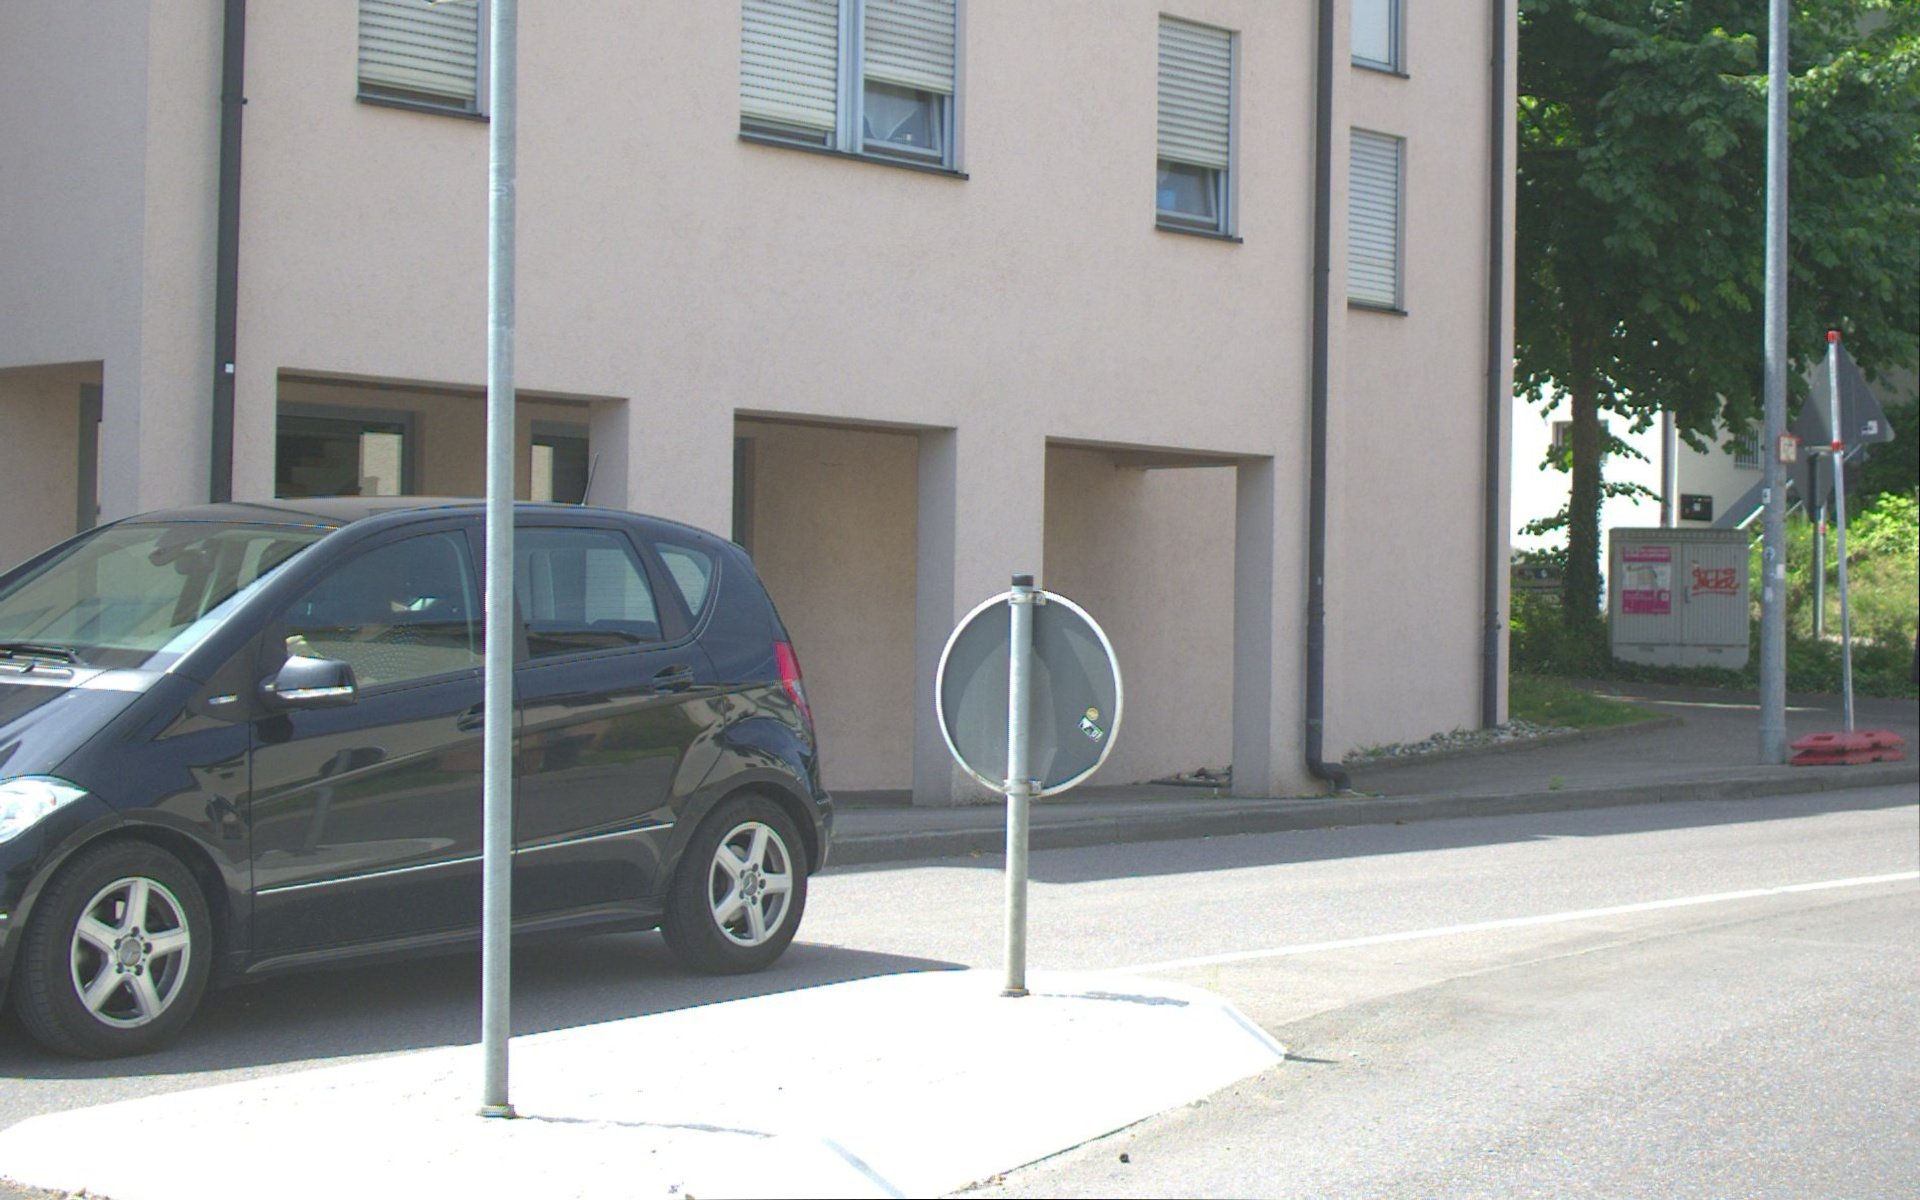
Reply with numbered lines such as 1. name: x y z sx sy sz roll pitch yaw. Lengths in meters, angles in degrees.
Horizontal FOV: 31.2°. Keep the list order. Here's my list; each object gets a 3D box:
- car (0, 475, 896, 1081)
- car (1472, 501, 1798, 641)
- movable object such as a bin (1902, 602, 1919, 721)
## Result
1. car: -2.140 0.449 10.808 1.756 1.579 3.936 1 1 38
2. car: 9.215 -0.435 47.146 1.903 1.678 3.999 -1 4 -41
3. movable object such as a bin: 8.600 0.526 29.236 0.802 0.997 0.802 -2 4 -43
